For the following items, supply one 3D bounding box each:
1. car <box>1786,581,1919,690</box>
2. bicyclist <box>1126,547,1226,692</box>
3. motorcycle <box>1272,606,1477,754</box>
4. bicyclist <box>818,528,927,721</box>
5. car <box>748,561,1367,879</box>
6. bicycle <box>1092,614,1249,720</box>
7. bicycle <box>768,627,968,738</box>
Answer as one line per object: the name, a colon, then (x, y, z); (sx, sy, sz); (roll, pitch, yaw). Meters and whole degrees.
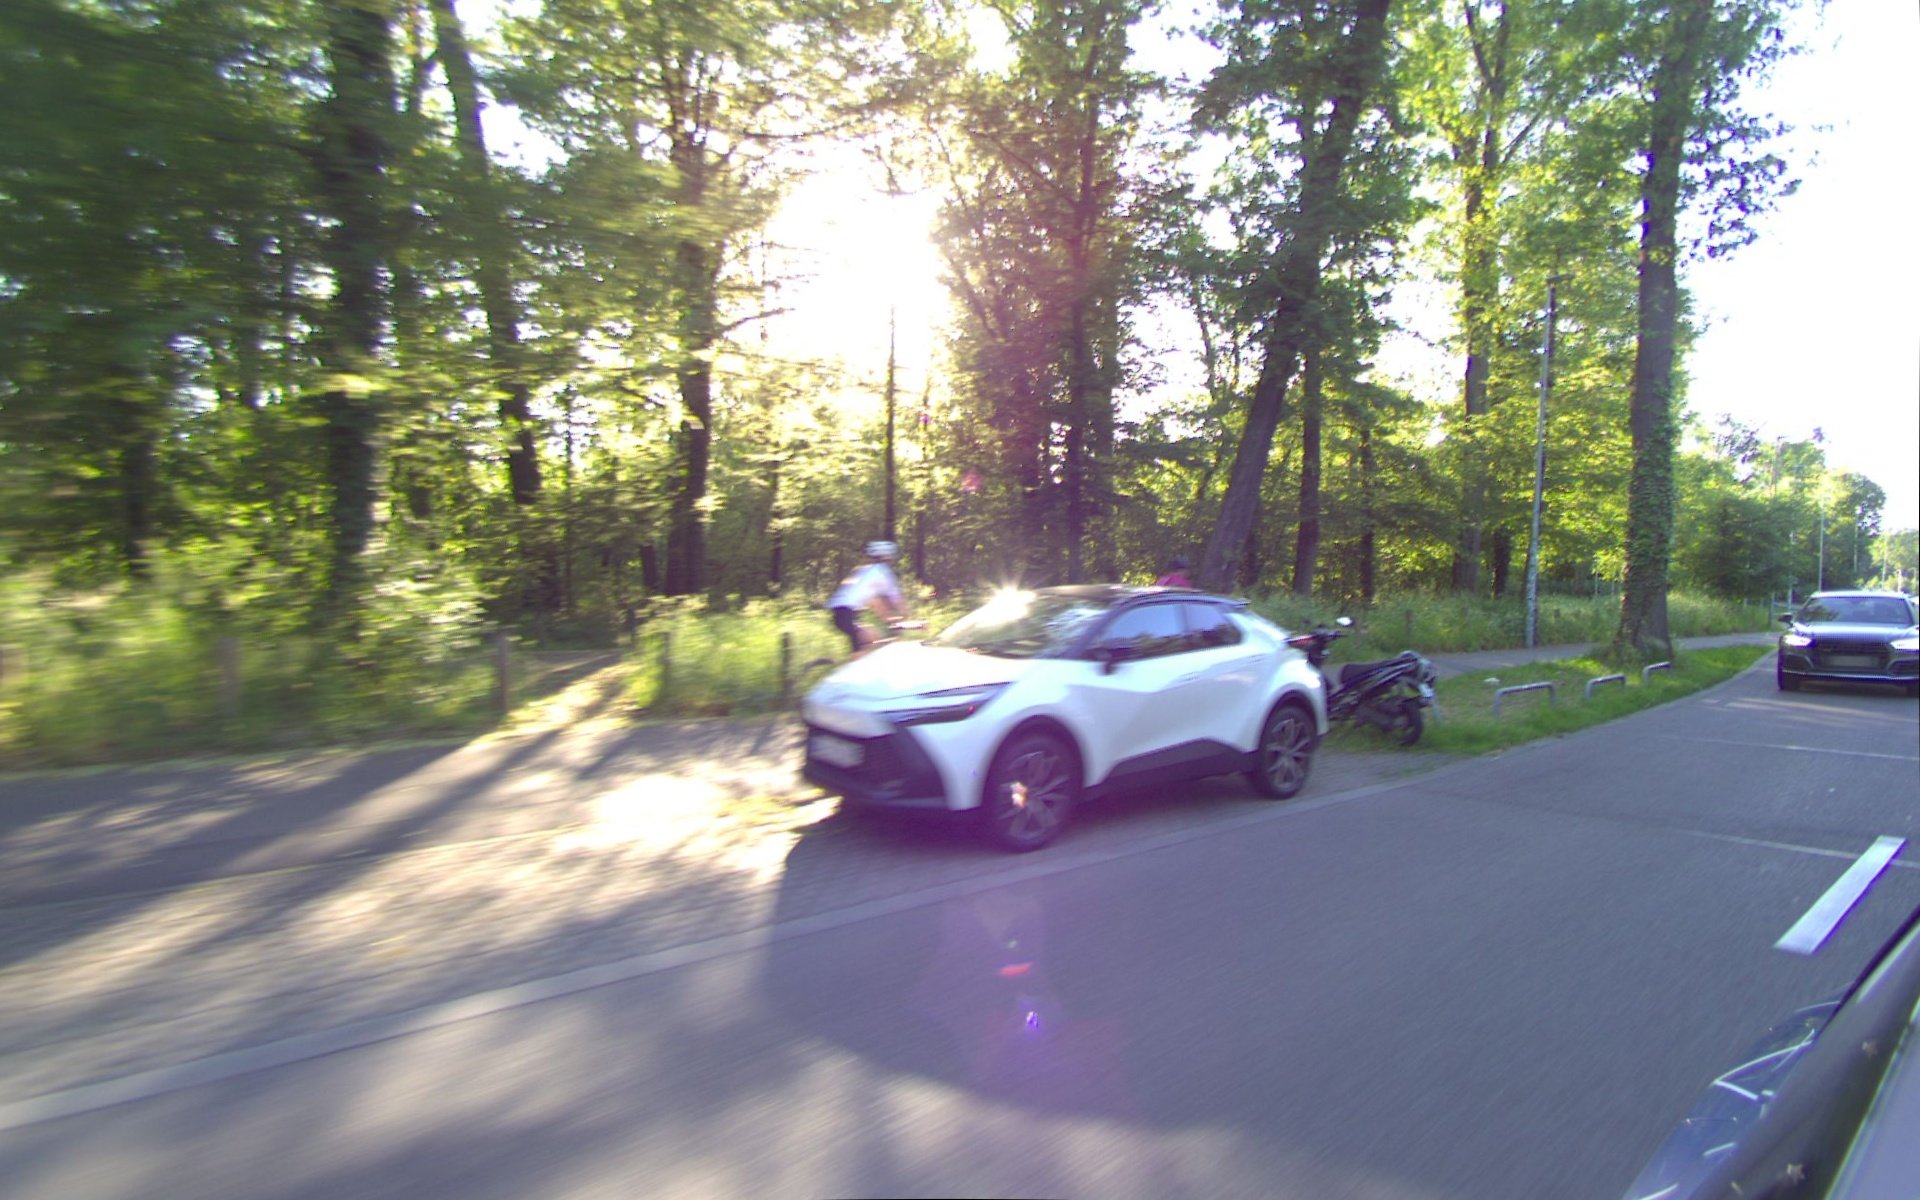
car: (15.460, 0.507, 17.184); (1.857, 1.638, 3.936); (2, 2, 45)
bicyclist: (2.491, 0.199, 11.660); (0.860, 1.580, 0.703); (-1, 3, -40)
motorcycle: (4.155, 0.746, 10.238); (0.758, 1.269, 1.735); (0, 3, -44)
bicyclist: (-0.833, 0.210, 9.620); (0.820, 1.737, 0.597); (0, 1, -40)
car: (0.892, 0.597, 7.324); (4.375, 1.579, 1.812); (0, 4, -38)
bicycle: (2.450, 0.725, 11.645); (1.929, 1.070, 0.704); (0, 2, -40)
bicycle: (-0.840, 0.738, 9.637); (1.898, 0.894, 0.593); (0, 1, -41)
